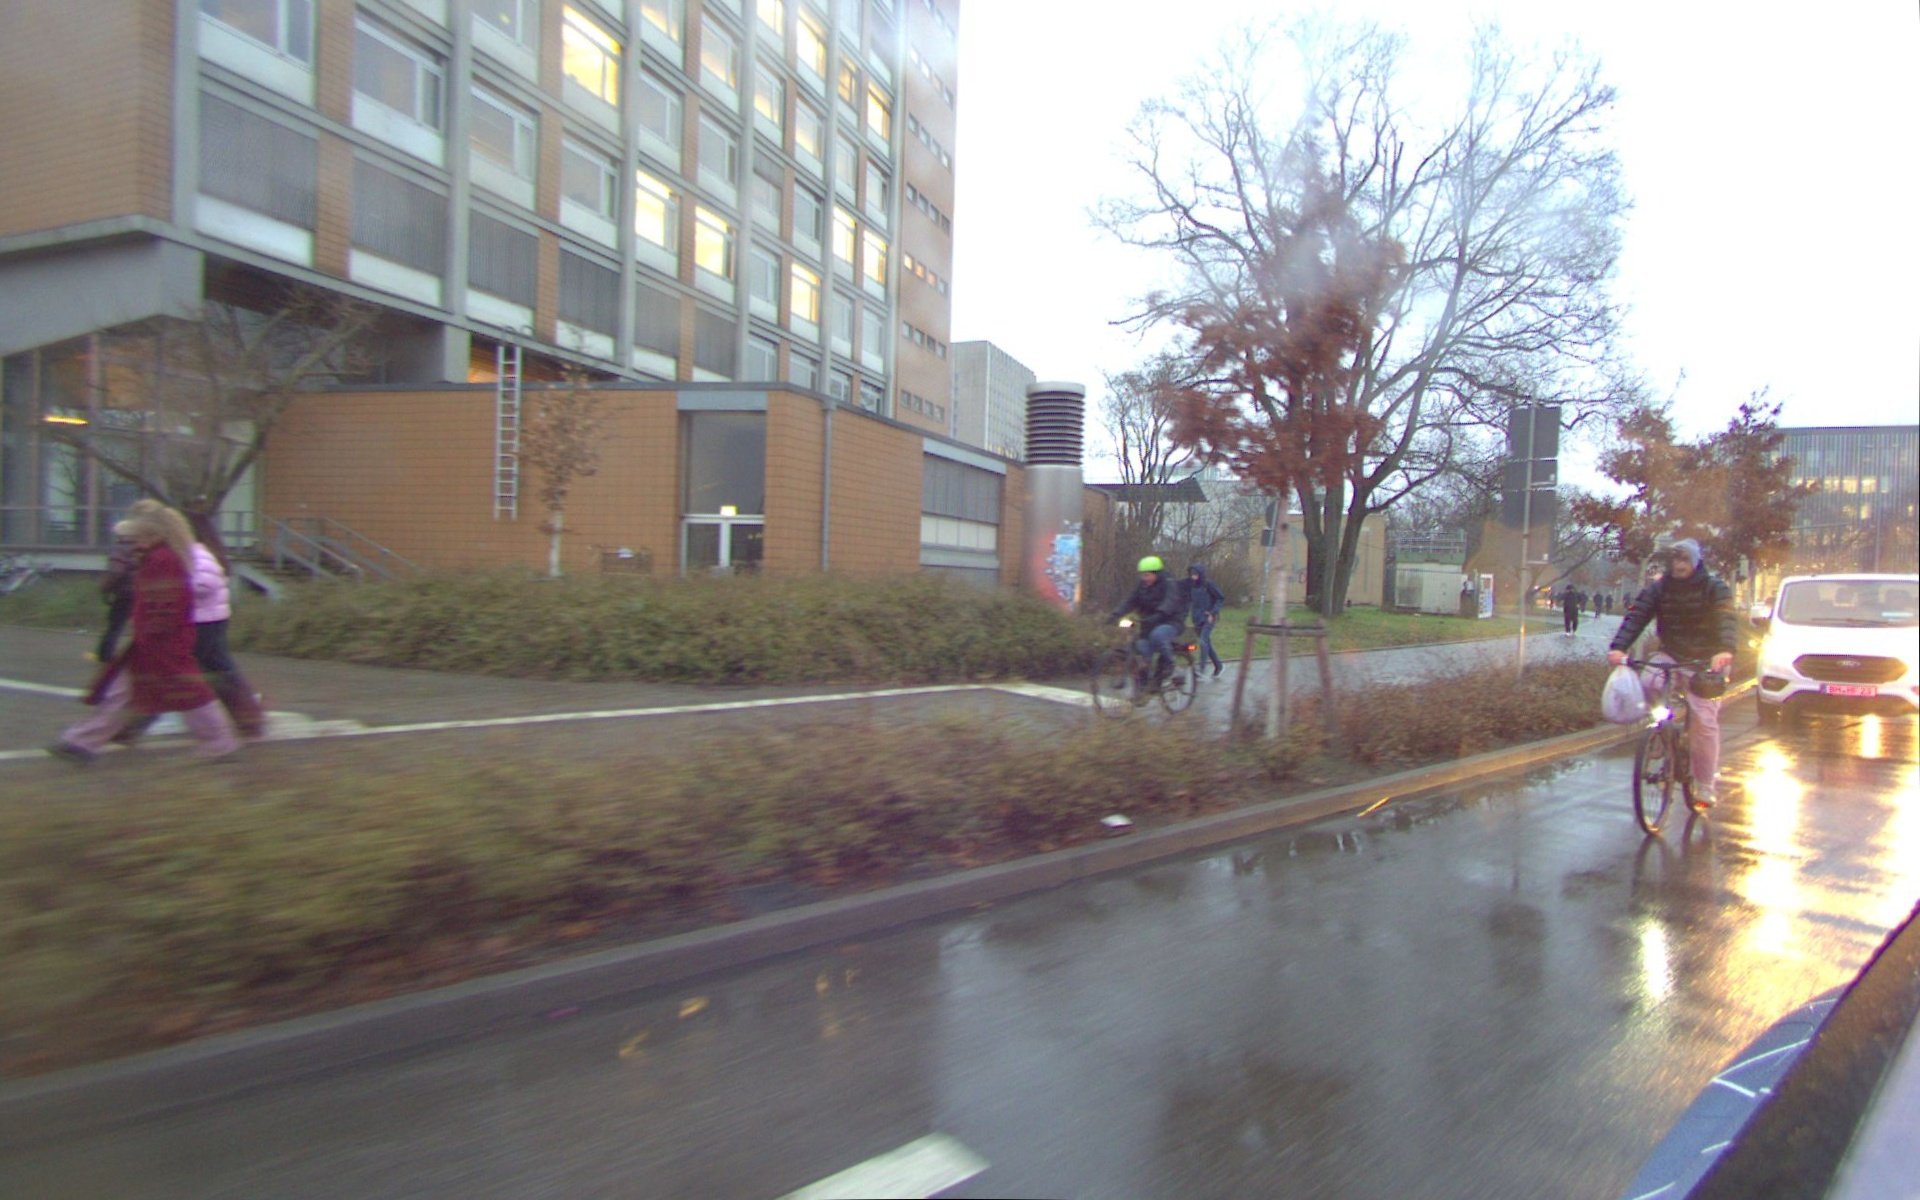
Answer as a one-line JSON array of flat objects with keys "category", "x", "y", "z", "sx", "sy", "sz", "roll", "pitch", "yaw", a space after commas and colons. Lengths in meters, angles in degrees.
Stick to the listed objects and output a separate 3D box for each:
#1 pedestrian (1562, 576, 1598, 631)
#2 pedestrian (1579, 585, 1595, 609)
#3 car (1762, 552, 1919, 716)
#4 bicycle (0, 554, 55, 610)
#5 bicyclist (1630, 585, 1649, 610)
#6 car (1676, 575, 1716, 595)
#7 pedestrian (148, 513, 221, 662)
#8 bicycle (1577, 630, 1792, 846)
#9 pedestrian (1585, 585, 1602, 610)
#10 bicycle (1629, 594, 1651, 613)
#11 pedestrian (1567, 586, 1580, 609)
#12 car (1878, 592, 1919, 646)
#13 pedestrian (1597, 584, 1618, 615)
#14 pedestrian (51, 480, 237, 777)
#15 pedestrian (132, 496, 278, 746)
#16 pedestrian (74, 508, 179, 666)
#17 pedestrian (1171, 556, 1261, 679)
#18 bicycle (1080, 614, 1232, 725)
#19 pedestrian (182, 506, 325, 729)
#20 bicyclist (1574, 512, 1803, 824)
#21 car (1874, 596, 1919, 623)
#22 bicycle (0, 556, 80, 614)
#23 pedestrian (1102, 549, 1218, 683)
[{"category": "pedestrian", "x": 20.431, "y": 0.118, "z": 33.350, "sx": 0.906, "sy": 1.708, "sz": 0.917, "roll": 4, "pitch": 1, "yaw": 32}, {"category": "pedestrian", "x": 49.705, "y": -0.251, "z": 80.279, "sx": 0.924, "sy": 1.848, "sz": 0.826, "roll": 3, "pitch": 2, "yaw": 27}, {"category": "car", "x": 12.750, "y": 0.484, "z": 14.255, "sx": 2.129, "sy": 1.945, "sz": 4.943, "roll": 2, "pitch": -1, "yaw": 40}, {"category": "bicycle", "x": -19.312, "y": -0.359, "z": 20.235, "sx": 0.437, "sy": 1.115, "sz": 1.781, "roll": 2, "pitch": 2, "yaw": 24}, {"category": "bicyclist", "x": 46.273, "y": -0.180, "z": 68.916, "sx": 0.798, "sy": 1.637, "sz": 1.076, "roll": 5, "pitch": 3, "yaw": 25}, {"category": "car", "x": 66.184, "y": -1.377, "z": 91.091, "sx": 1.981, "sy": 1.586, "sz": 4.719, "roll": 4, "pitch": 3, "yaw": 26}, {"category": "pedestrian", "x": -9.729, "y": -0.166, "z": 12.699, "sx": 0.579, "sy": 1.813, "sz": 0.554, "roll": 2, "pitch": 1, "yaw": 32}, {"category": "bicycle", "x": 5.041, "y": 0.857, "z": 6.995, "sx": 1.870, "sy": 1.238, "sz": 0.794, "roll": 0, "pitch": 0, "yaw": -41}, {"category": "pedestrian", "x": 47.559, "y": -0.175, "z": 76.017, "sx": 0.924, "sy": 1.848, "sz": 0.826, "roll": 3, "pitch": 2, "yaw": 27}, {"category": "bicycle", "x": 46.176, "y": 0.204, "z": 68.756, "sx": 0.798, "sy": 1.155, "sz": 2.195, "roll": 5, "pitch": 3, "yaw": 25}, {"category": "pedestrian", "x": 53.605, "y": -0.224, "z": 88.408, "sx": 0.758, "sy": 2.038, "sz": 0.903, "roll": 2, "pitch": 2, "yaw": 25}, {"category": "car", "x": 29.422, "y": 0.632, "z": 30.512, "sx": 4.235, "sy": 1.523, "sz": 1.755, "roll": 3, "pitch": -1, "yaw": -36}, {"category": "pedestrian", "x": 40.109, "y": -0.059, "z": 62.714, "sx": 0.924, "sy": 1.848, "sz": 0.826, "roll": 3, "pitch": 2, "yaw": 27}, {"category": "pedestrian", "x": -5.213, "y": 0.165, "z": 6.512, "sx": 0.753, "sy": 1.803, "sz": 0.587, "roll": 1, "pitch": 2, "yaw": -15}, {"category": "pedestrian", "x": -5.442, "y": 0.141, "z": 7.332, "sx": 0.599, "sy": 1.708, "sz": 0.671, "roll": 3, "pitch": 2, "yaw": -15}, {"category": "pedestrian", "x": -10.003, "y": -0.164, "z": 12.150, "sx": 0.847, "sy": 1.813, "sz": 0.740, "roll": 2, "pitch": 1, "yaw": 32}, {"category": "pedestrian", "x": 3.785, "y": 0.229, "z": 14.940, "sx": 0.807, "sy": 1.708, "sz": 1.053, "roll": 4, "pitch": 3, "yaw": 43}, {"category": "bicycle", "x": 2.087, "y": 0.672, "z": 10.561, "sx": 0.561, "sy": 0.958, "sz": 2.064, "roll": 3, "pitch": 3, "yaw": 42}, {"category": "pedestrian", "x": -5.684, "y": 0.130, "z": 8.184, "sx": 0.744, "sy": 1.708, "sz": 0.722, "roll": 1, "pitch": 1, "yaw": -16}, {"category": "bicyclist", "x": 5.036, "y": 0.410, "z": 6.992, "sx": 1.214, "sy": 1.907, "sz": 1.026, "roll": 0, "pitch": 0, "yaw": -41}, {"category": "car", "x": 55.847, "y": 0.557, "z": 59.483, "sx": 1.913, "sy": 1.393, "sz": 4.458, "roll": 3, "pitch": 2, "yaw": 26}, {"category": "bicycle", "x": -18.671, "y": -0.302, "z": 20.108, "sx": 0.397, "sy": 1.115, "sz": 1.781, "roll": 2, "pitch": 2, "yaw": 24}, {"category": "pedestrian", "x": 2.131, "y": 0.142, "z": 10.767, "sx": 0.874, "sy": 1.333, "sz": 0.835, "roll": 3, "pitch": 2, "yaw": 43}]
